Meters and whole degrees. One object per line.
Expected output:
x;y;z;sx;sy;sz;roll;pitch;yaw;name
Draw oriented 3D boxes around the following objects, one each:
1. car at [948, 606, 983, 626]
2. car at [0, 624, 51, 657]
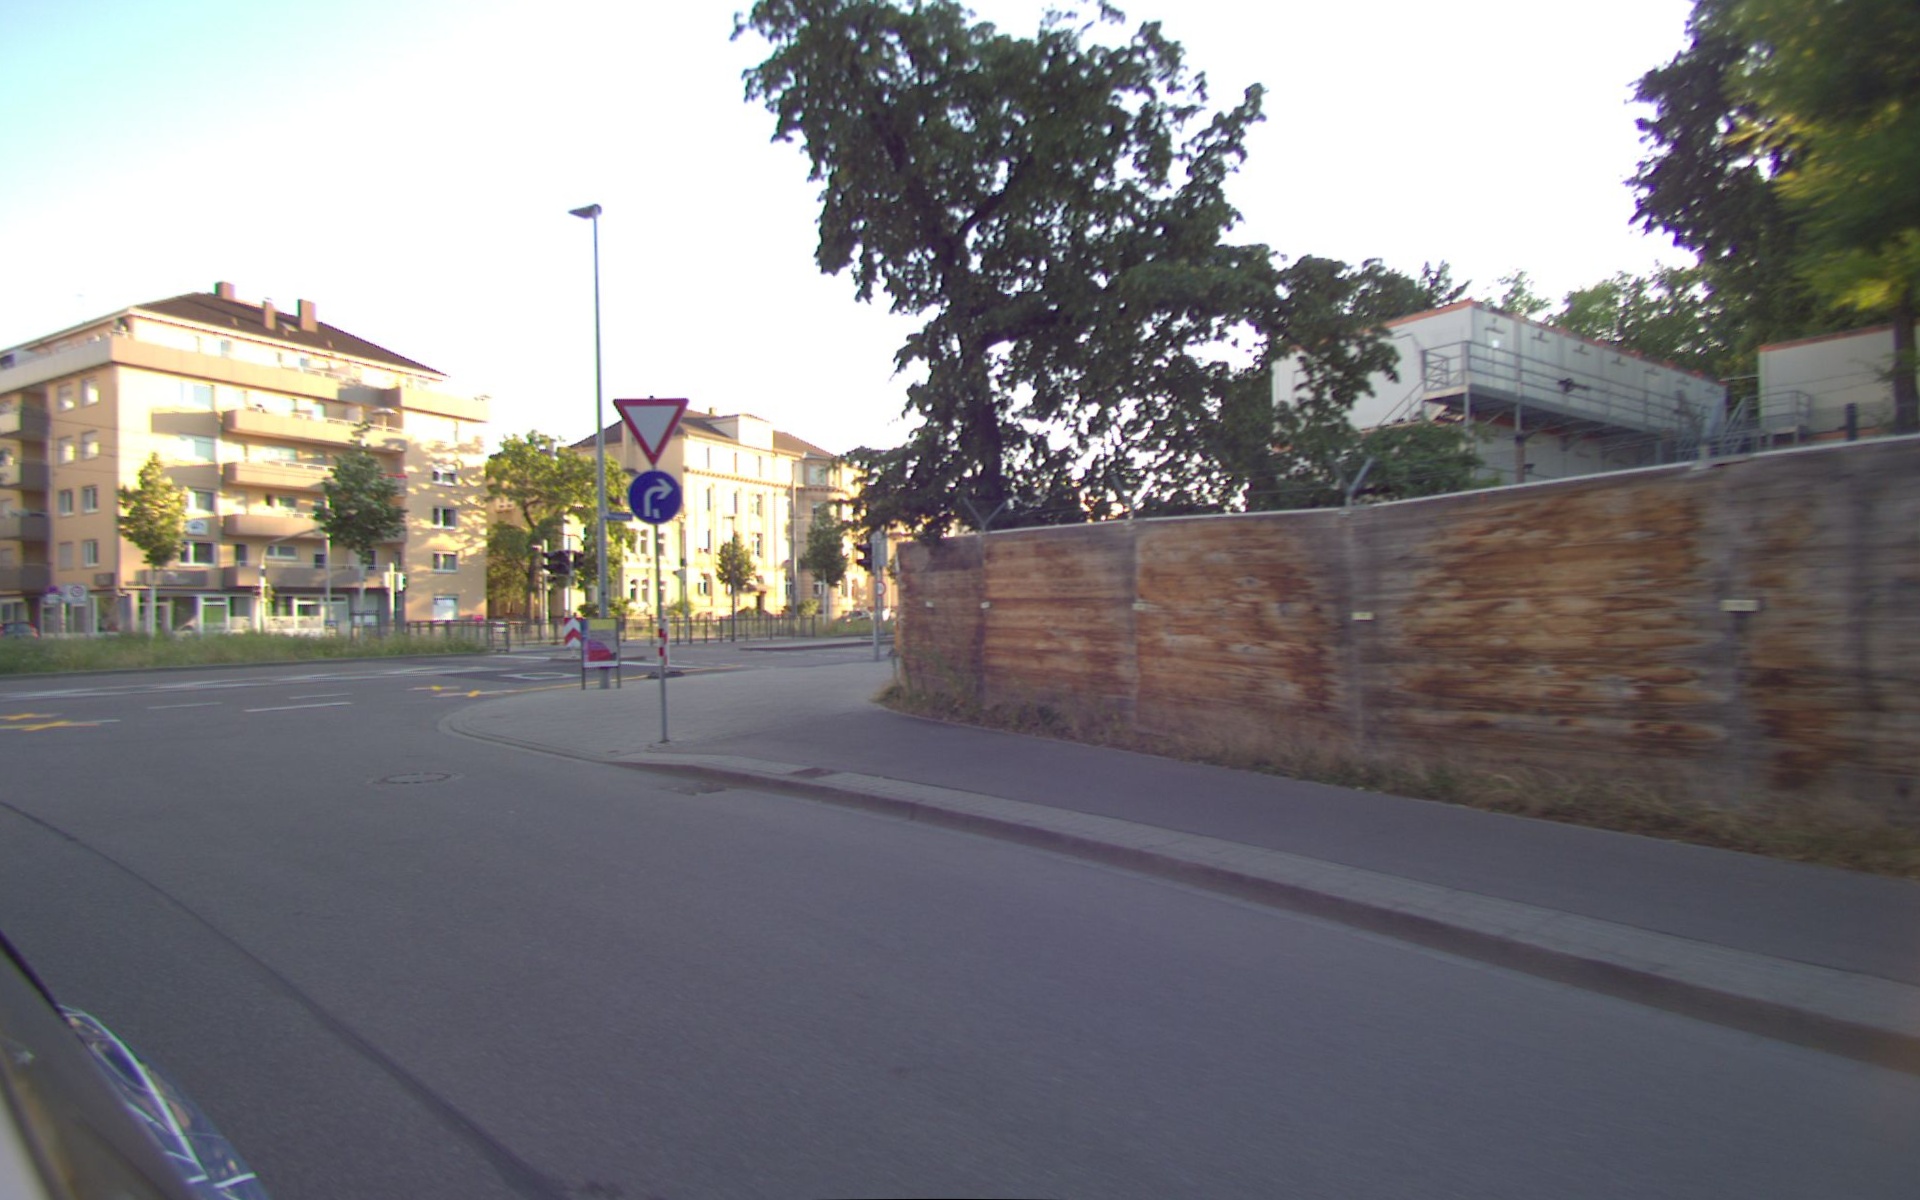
0.575;1.639;104.064;1.991;2.029;3.962;-1;-1;28;car
-45.933;1.929;48.754;3.981;1.497;1.981;-1;-1;28;car
